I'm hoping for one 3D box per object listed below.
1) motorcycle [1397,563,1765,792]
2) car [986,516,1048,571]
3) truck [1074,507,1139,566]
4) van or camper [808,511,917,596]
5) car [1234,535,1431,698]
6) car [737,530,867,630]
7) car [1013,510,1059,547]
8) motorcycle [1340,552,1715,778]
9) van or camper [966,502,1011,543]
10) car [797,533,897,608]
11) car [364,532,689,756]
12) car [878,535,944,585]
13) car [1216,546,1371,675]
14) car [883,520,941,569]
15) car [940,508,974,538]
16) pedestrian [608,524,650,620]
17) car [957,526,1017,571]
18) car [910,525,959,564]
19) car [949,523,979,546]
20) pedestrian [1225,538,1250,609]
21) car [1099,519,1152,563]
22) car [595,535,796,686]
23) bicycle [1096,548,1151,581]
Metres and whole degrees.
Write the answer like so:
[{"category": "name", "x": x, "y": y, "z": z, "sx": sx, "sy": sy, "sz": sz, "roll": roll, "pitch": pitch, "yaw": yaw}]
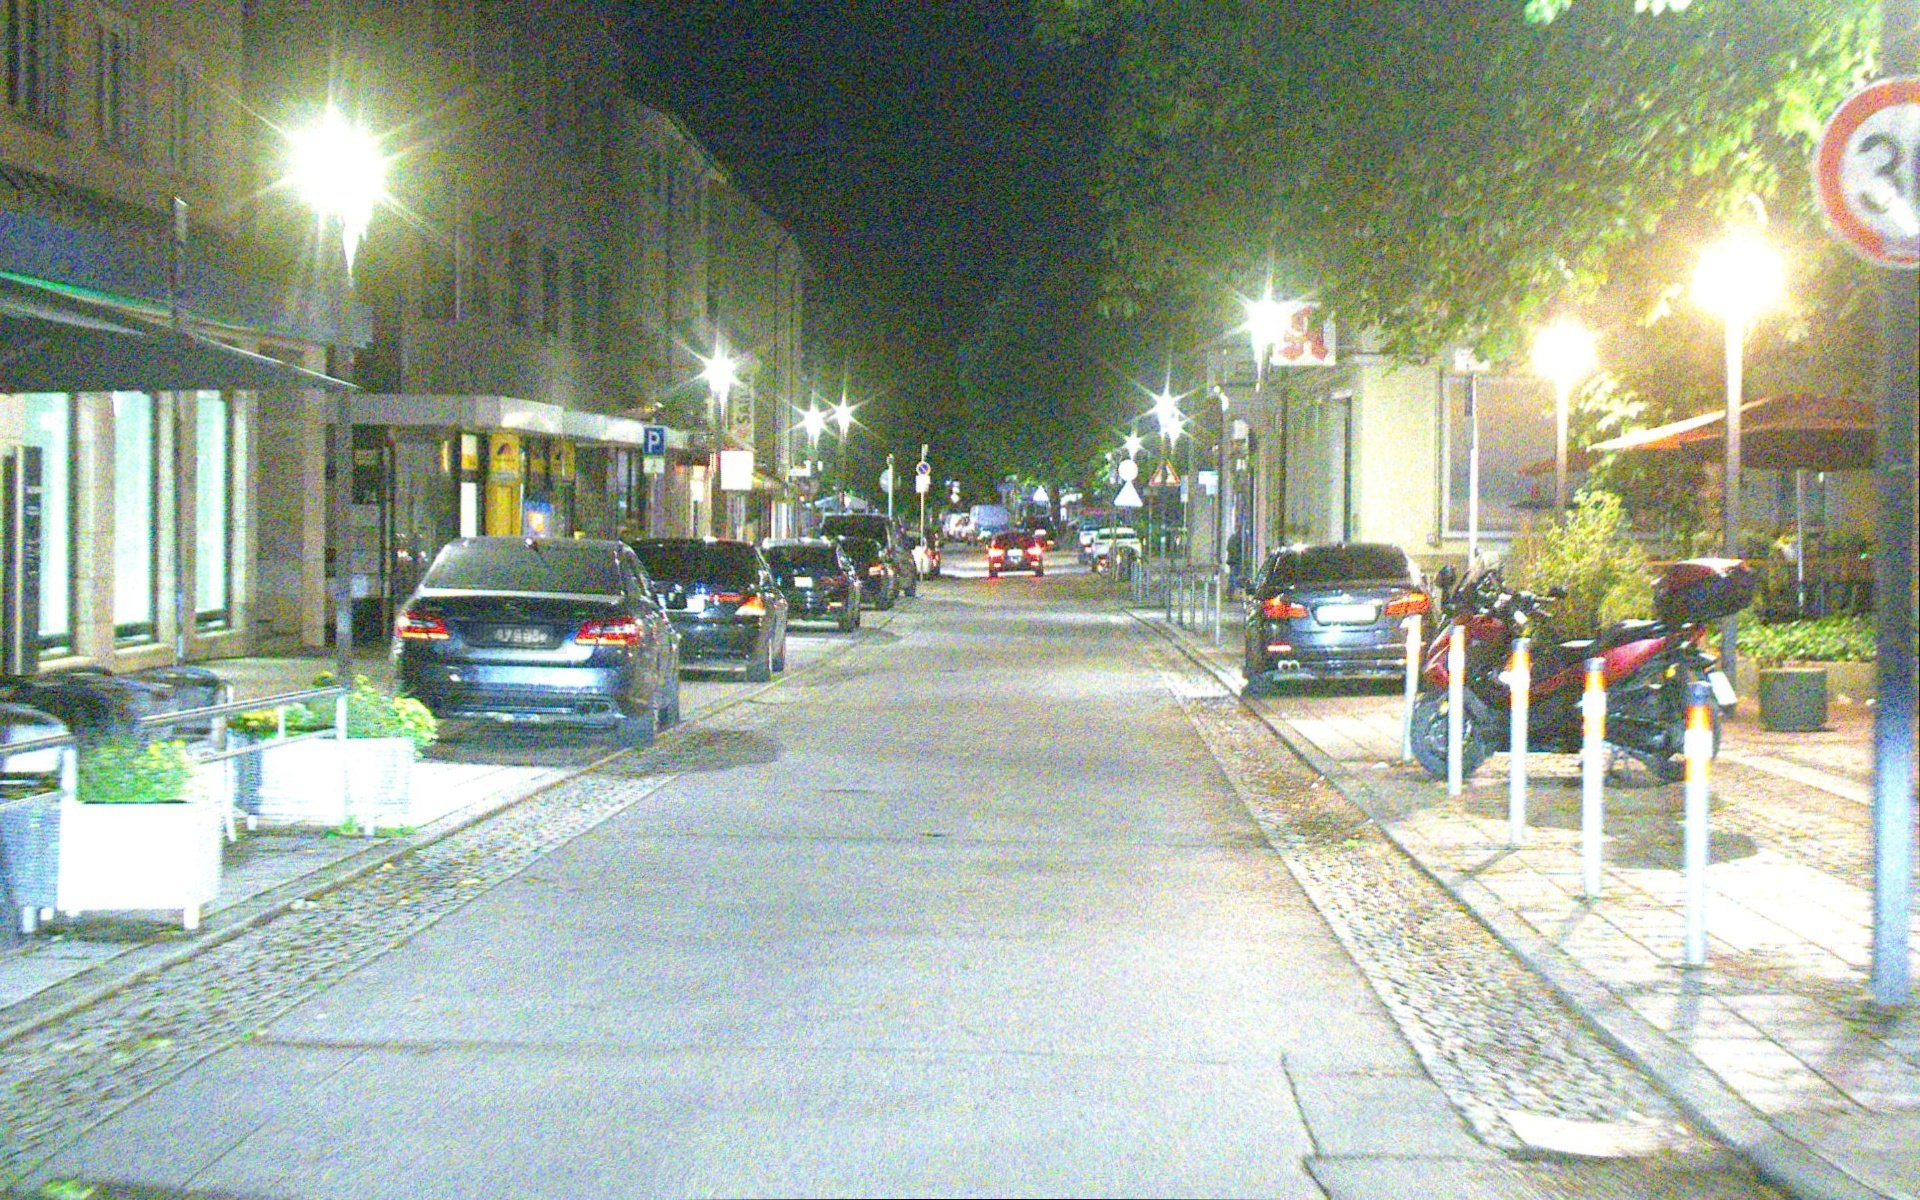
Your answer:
[{"category": "motorcycle", "x": 3.657, "y": 0.434, "z": 20.397, "sx": 2.168, "sy": 1.293, "sz": 0.514, "roll": 0, "pitch": 1, "yaw": 39}, {"category": "car", "x": 1.905, "y": -1.903, "z": 115.932, "sx": 1.993, "sy": 1.817, "sz": 4.000, "roll": 0, "pitch": 1, "yaw": 0}, {"category": "truck", "x": 5.799, "y": -2.535, "z": 136.661, "sx": 2.336, "sy": 2.304, "sz": 5.781, "roll": 0, "pitch": 1, "yaw": 0}, {"category": "van or camper", "x": -2.281, "y": -1.115, "z": 81.664, "sx": 1.846, "sy": 1.935, "sz": 5.152, "roll": 1, "pitch": 1, "yaw": 6}, {"category": "car", "x": 3.624, "y": 0.124, "z": 34.023, "sx": 1.753, "sy": 1.459, "sz": 4.466, "roll": -1, "pitch": 1, "yaw": 4}, {"category": "car", "x": -2.483, "y": -0.335, "z": 55.033, "sx": 1.797, "sy": 1.473, "sz": 4.321, "roll": 2, "pitch": 1, "yaw": 0}, {"category": "car", "x": 3.791, "y": -3.587, "z": 172.230, "sx": 1.814, "sy": 1.822, "sz": 4.348, "roll": 0, "pitch": 1, "yaw": -5}, {"category": "motorcycle", "x": 3.610, "y": 0.394, "z": 21.937, "sx": 2.267, "sy": 1.386, "sz": 0.660, "roll": 0, "pitch": 1, "yaw": 26}, {"category": "van or camper", "x": 1.658, "y": -4.484, "z": 198.322, "sx": 2.108, "sy": 2.309, "sz": 4.263, "roll": -1, "pitch": 1, "yaw": -6}, {"category": "car", "x": -2.254, "y": -0.618, "z": 69.577, "sx": 1.717, "sy": 1.408, "sz": 4.385, "roll": 2, "pitch": 1, "yaw": 2}, {"category": "car", "x": -3.073, "y": 0.258, "z": 25.239, "sx": 1.899, "sy": 1.465, "sz": 4.525, "roll": 1, "pitch": 1, "yaw": -1}, {"category": "car", "x": -1.586, "y": -1.340, "z": 113.223, "sx": 2.019, "sy": 1.483, "sz": 5.008, "roll": 3, "pitch": 1, "yaw": 0}, {"category": "car", "x": 3.800, "y": 0.090, "z": 39.647, "sx": 1.661, "sy": 1.373, "sz": 4.103, "roll": -1, "pitch": 1, "yaw": 4}, {"category": "car", "x": -1.476, "y": -1.739, "z": 107.881, "sx": 1.728, "sy": 1.471, "sz": 3.847, "roll": 1, "pitch": 1, "yaw": 0}, {"category": "car", "x": -0.192, "y": -4.845, "z": 217.186, "sx": 1.839, "sy": 1.894, "sz": 3.846, "roll": 0, "pitch": 1, "yaw": -4}, {"category": "pedestrian", "x": -6.075, "y": -0.516, "z": 63.139, "sx": 0.621, "sy": 1.739, "sz": 1.023, "roll": 1, "pitch": 1, "yaw": 1}, {"category": "car", "x": 1.033, "y": -2.024, "z": 133.725, "sx": 1.993, "sy": 1.697, "sz": 4.001, "roll": 0, "pitch": 1, "yaw": -4}, {"category": "car", "x": -1.074, "y": -2.307, "z": 141.382, "sx": 1.673, "sy": 1.538, "sz": 4.231, "roll": 1, "pitch": 1, "yaw": -5}, {"category": "car", "x": 0.242, "y": -4.014, "z": 211.185, "sx": 1.531, "sy": 1.413, "sz": 3.846, "roll": 0, "pitch": 1, "yaw": -4}, {"category": "pedestrian", "x": 6.130, "y": -0.584, "z": 75.981, "sx": 0.501, "sy": 1.542, "sz": 0.480, "roll": 1, "pitch": 1, "yaw": 7}, {"category": "car", "x": 5.805, "y": -2.080, "z": 121.013, "sx": 1.789, "sy": 1.486, "sz": 4.059, "roll": -1, "pitch": 1, "yaw": 2}, {"category": "car", "x": -2.774, "y": 0.064, "z": 36.960, "sx": 1.845, "sy": 1.459, "sz": 4.623, "roll": 2, "pitch": 1, "yaw": -1}, {"category": "bicycle", "x": 5.228, "y": -1.146, "z": 109.870, "sx": 1.754, "sy": 1.058, "sz": 0.346, "roll": 0, "pitch": 1, "yaw": -1}]
